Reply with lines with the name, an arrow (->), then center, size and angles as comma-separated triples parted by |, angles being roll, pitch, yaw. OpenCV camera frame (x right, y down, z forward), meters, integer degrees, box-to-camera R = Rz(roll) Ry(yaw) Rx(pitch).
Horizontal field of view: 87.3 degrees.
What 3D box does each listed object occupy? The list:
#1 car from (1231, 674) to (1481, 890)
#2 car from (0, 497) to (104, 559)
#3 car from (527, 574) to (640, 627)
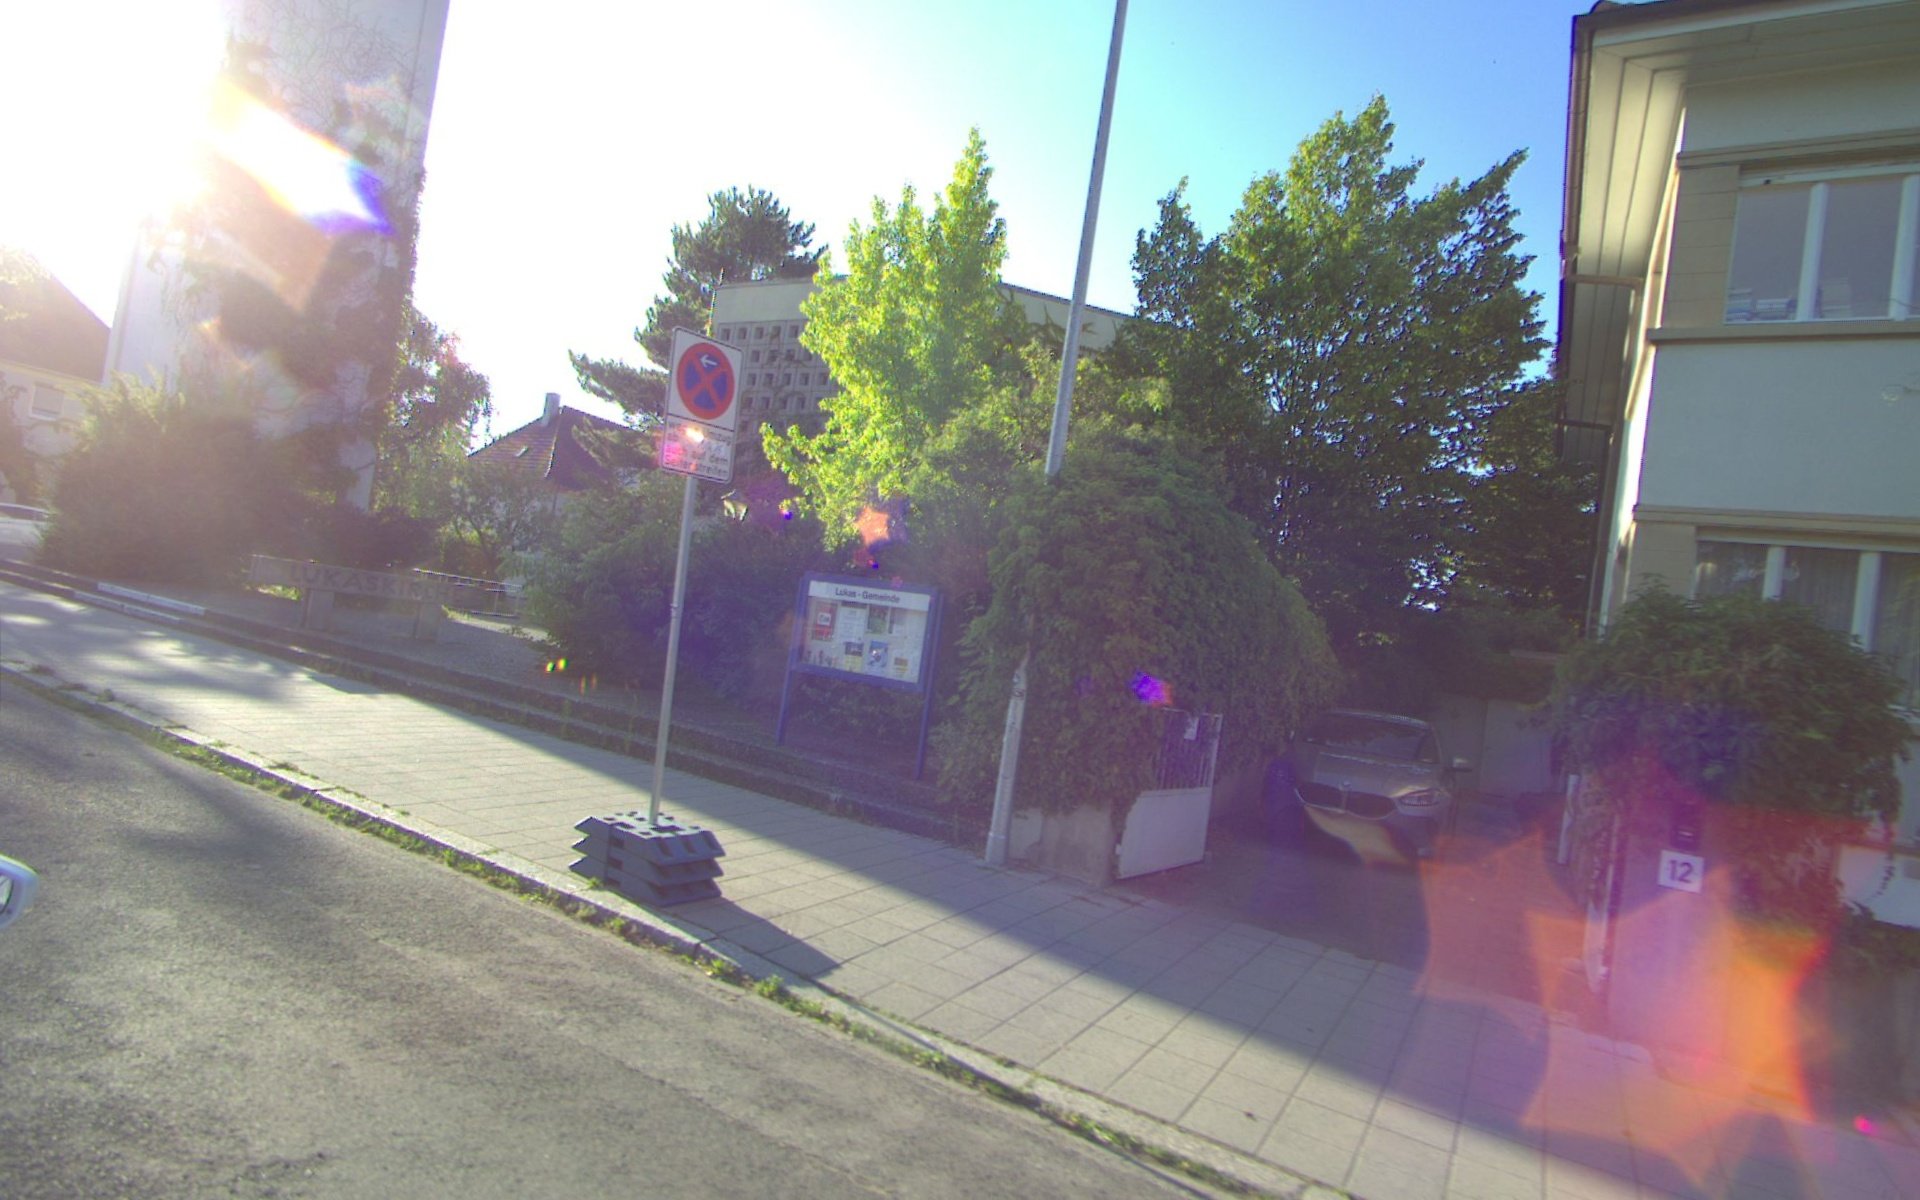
car -> 4.560, 1.892, 11.181 | 1.842, 1.665, 3.998 | 8, -3, 30
car -> -29.936, -2.416, 31.053 | 1.970, 1.501, 4.861 | 3, -6, 31
car -> -18.700, 0.070, 50.241 | 2.136, 1.994, 5.019 | 5, -4, 27
